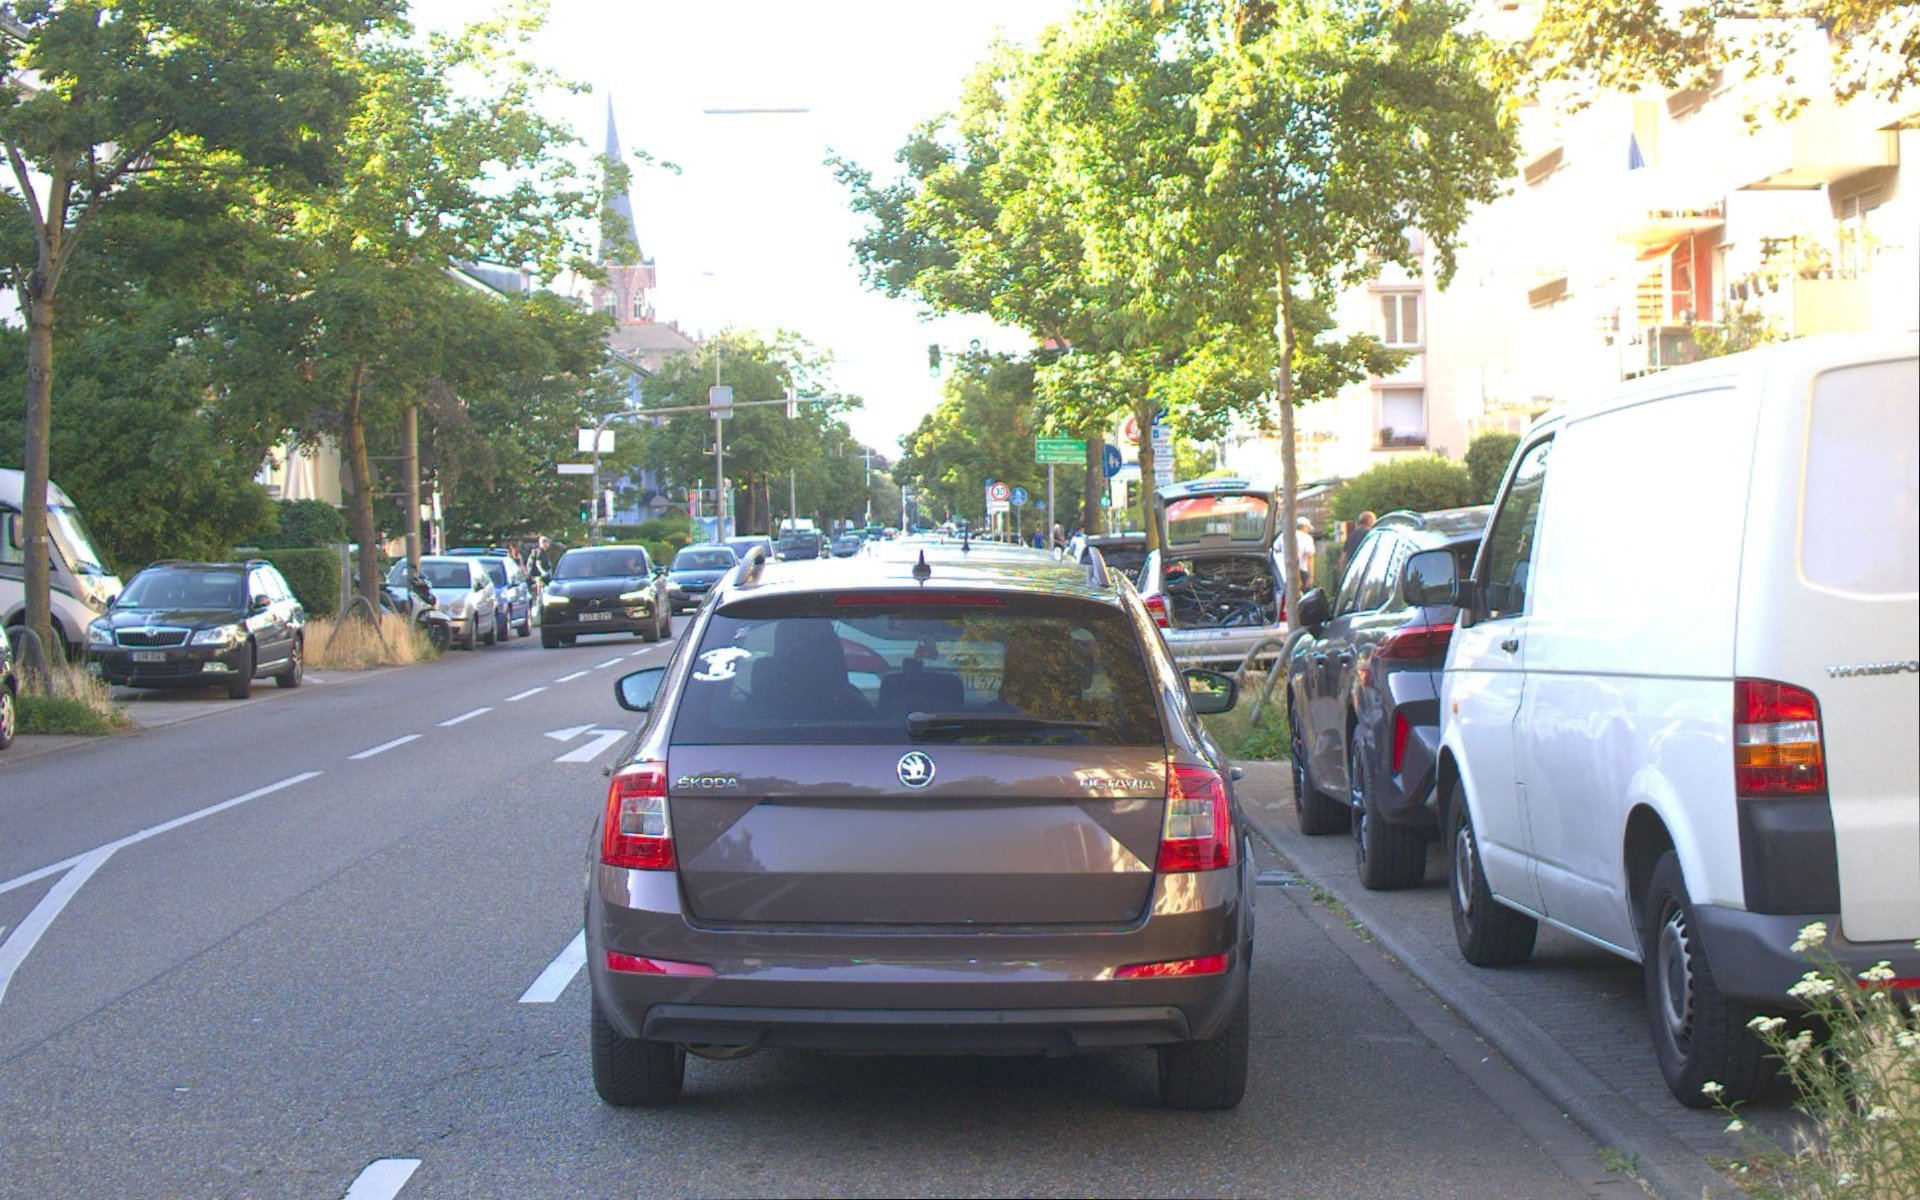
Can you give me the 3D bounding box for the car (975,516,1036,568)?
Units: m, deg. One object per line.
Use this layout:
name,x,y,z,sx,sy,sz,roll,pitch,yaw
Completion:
car,1.623,-2.058,121.670,1.994,1.766,4.000,1,1,2

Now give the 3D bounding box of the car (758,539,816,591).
car,-6.783,-1.388,135.276,1.993,1.902,4.964,-3,1,-1

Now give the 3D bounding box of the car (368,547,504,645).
car,-8.358,-0.090,55.051,1.593,1.465,3.804,1,1,0

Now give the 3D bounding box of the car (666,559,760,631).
car,-5.554,-0.135,77.686,1.760,1.447,4.534,-3,1,0

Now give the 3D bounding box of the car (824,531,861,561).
car,-6.455,-3.001,189.262,1.830,1.574,4.000,-1,1,0

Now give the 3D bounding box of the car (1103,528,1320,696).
car,2.439,0.071,34.245,1.708,1.475,4.269,-3,1,-1

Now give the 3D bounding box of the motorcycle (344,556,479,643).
motorcycle,-8.202,-0.004,51.342,2.052,1.260,0.765,-1,1,38

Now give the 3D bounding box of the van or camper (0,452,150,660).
van or camper,-14.859,-0.668,47.427,6.797,2.763,2.352,1,1,-1

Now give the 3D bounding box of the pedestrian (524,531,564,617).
pedestrian,-9.759,-0.622,80.640,0.780,1.981,0.821,-1,1,0

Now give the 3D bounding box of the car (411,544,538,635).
car,-8.391,-0.203,59.679,1.648,1.512,4.074,0,1,0

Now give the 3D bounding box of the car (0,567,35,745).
car,-8.342,0.475,26.332,1.543,1.391,3.666,-1,1,-1

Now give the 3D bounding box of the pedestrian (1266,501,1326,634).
pedestrian,4.520,-0.444,46.230,0.662,1.743,0.772,-3,1,1

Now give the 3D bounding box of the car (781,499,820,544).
car,-9.018,-4.405,194.136,1.993,2.469,4.000,-1,1,0

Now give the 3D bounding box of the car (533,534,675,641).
car,-5.683,-0.223,55.295,1.835,1.565,4.000,-3,1,-1

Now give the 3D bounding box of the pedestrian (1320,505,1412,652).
pedestrian,4.590,-0.249,38.873,0.757,1.634,0.694,-1,1,36

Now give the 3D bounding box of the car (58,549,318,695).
car,-8.472,0.196,38.105,1.867,1.489,4.517,0,1,0

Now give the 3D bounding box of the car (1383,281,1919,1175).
car,2.617,0.246,10.435,1.903,2.096,4.641,-1,1,-2

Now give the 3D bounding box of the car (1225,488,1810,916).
car,2.396,0.364,15.899,1.856,1.598,4.312,-4,1,-1

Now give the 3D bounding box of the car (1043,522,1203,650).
car,2.166,-0.218,46.655,1.856,1.576,4.014,-3,1,-1

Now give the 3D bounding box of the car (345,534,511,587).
car,-15.720,-1.179,101.794,4.634,1.530,1.862,0,1,-1

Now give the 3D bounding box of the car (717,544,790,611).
car,-5.909,-0.677,98.922,1.805,1.798,4.746,-3,1,-1

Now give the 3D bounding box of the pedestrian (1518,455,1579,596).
pedestrian,6.934,-0.876,40.496,0.474,1.634,0.536,-2,1,-19

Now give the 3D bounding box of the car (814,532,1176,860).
car,0.183,0.428,18.686,1.737,1.565,4.000,1,1,0

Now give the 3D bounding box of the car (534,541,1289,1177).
car,-0.147,0.573,10.240,1.773,1.484,4.311,0,1,-1
